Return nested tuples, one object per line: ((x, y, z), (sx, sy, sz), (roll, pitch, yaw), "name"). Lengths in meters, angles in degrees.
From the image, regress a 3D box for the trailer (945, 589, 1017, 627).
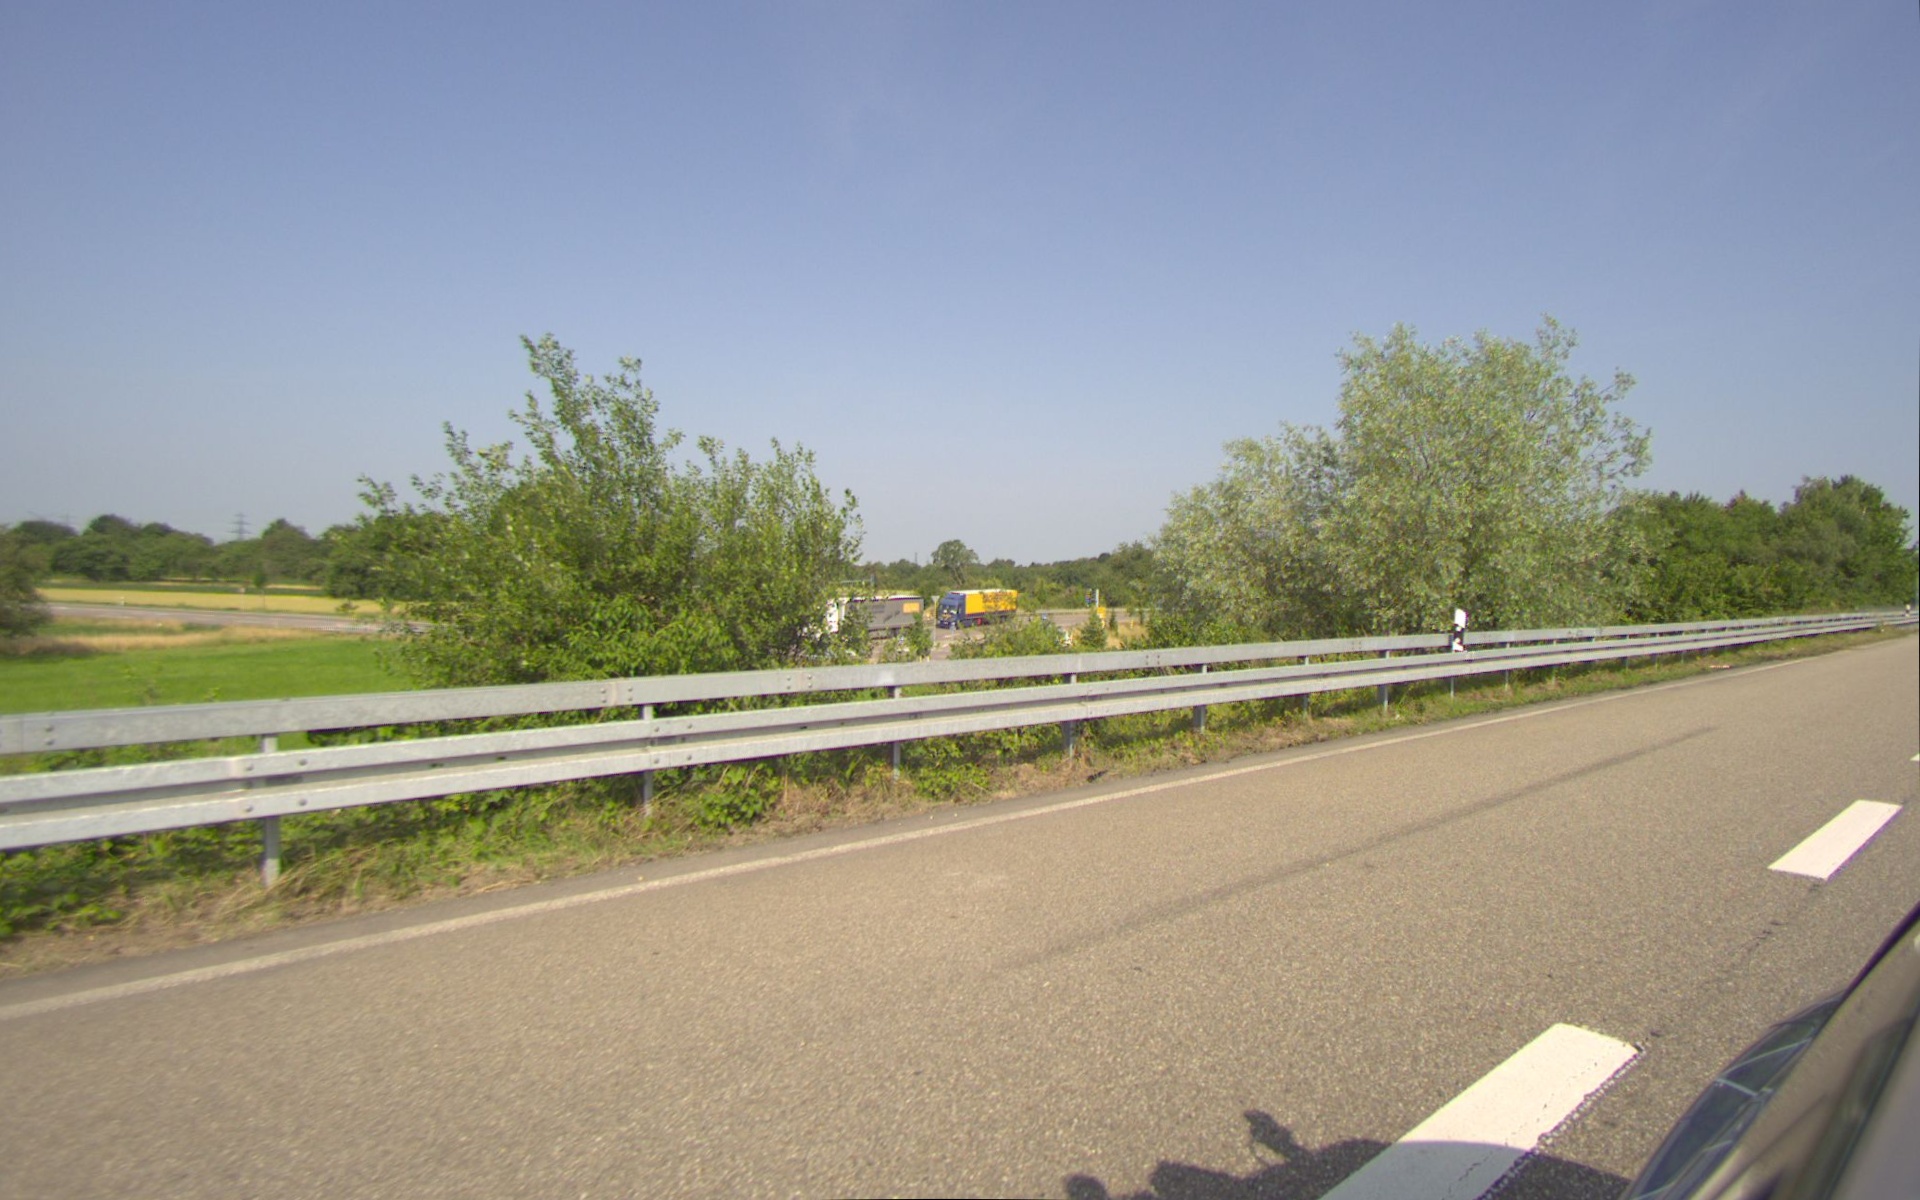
((2.727, 0.860, 121.239), (2.242, 4.221, 14.279), (1, 1, 29), "trailer")

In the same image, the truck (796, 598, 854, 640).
((-12.392, 1.709, 93.075), (4.856, 3.724, 2.105), (1, 0, -41), "truck")

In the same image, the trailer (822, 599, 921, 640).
((-8.386, 1.746, 99.084), (2.091, 3.698, 13.780), (1, 0, 30), "trailer")

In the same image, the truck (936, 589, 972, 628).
((-0.650, 0.929, 115.103), (2.242, 4.222, 4.327), (1, 1, 29), "truck")
